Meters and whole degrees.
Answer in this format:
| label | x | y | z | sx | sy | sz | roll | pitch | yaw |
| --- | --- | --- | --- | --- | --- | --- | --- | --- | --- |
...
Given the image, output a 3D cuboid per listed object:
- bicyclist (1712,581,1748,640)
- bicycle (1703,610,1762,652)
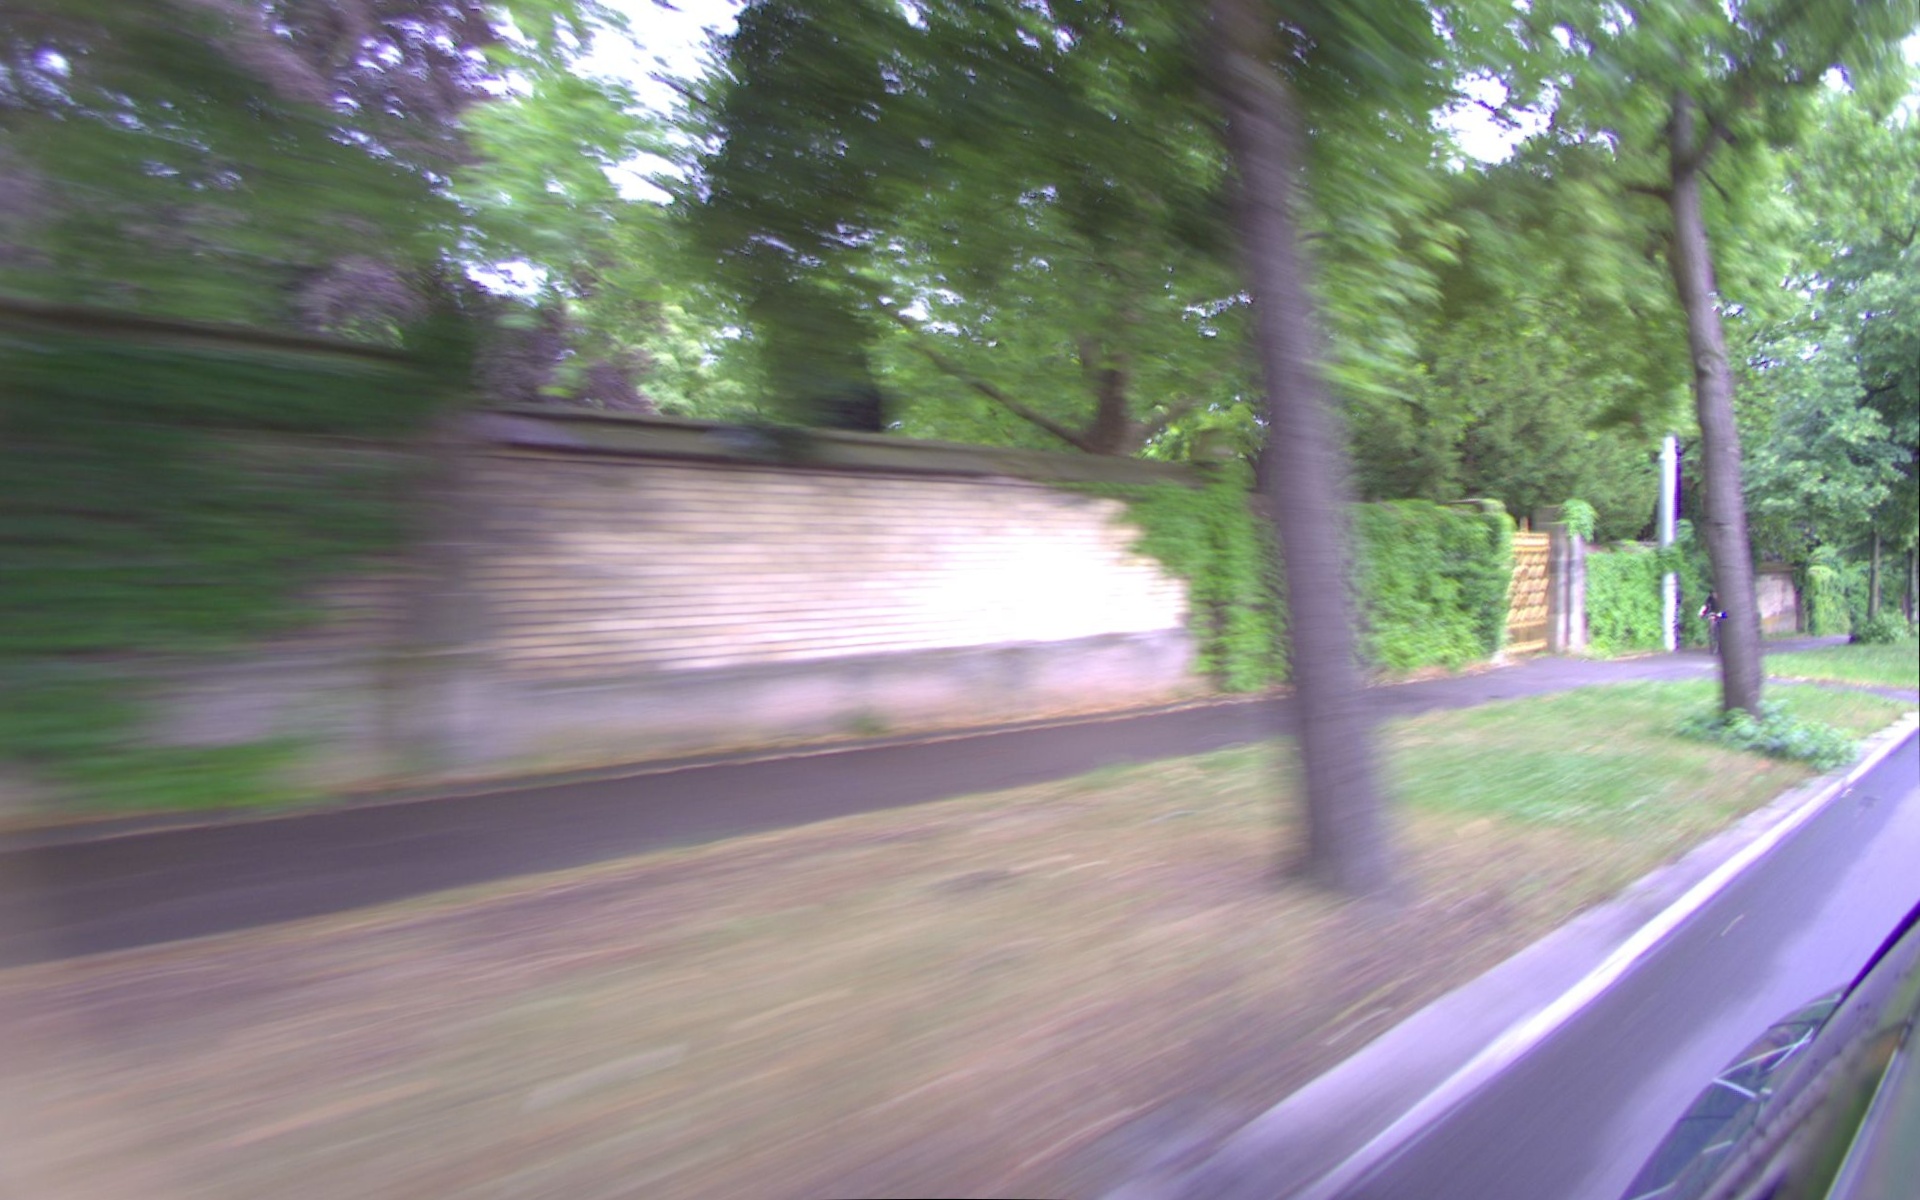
| label | x | y | z | sx | sy | sz | roll | pitch | yaw |
| --- | --- | --- | --- | --- | --- | --- | --- | --- | --- |
| bicyclist | 18.752 | 0.242 | 24.645 | 0.654 | 1.407 | 0.536 | 1 | 1 | -39 |
| bicycle | 19.020 | 0.733 | 24.888 | 2.503 | 0.960 | 0.544 | 0 | 1 | -39 |
